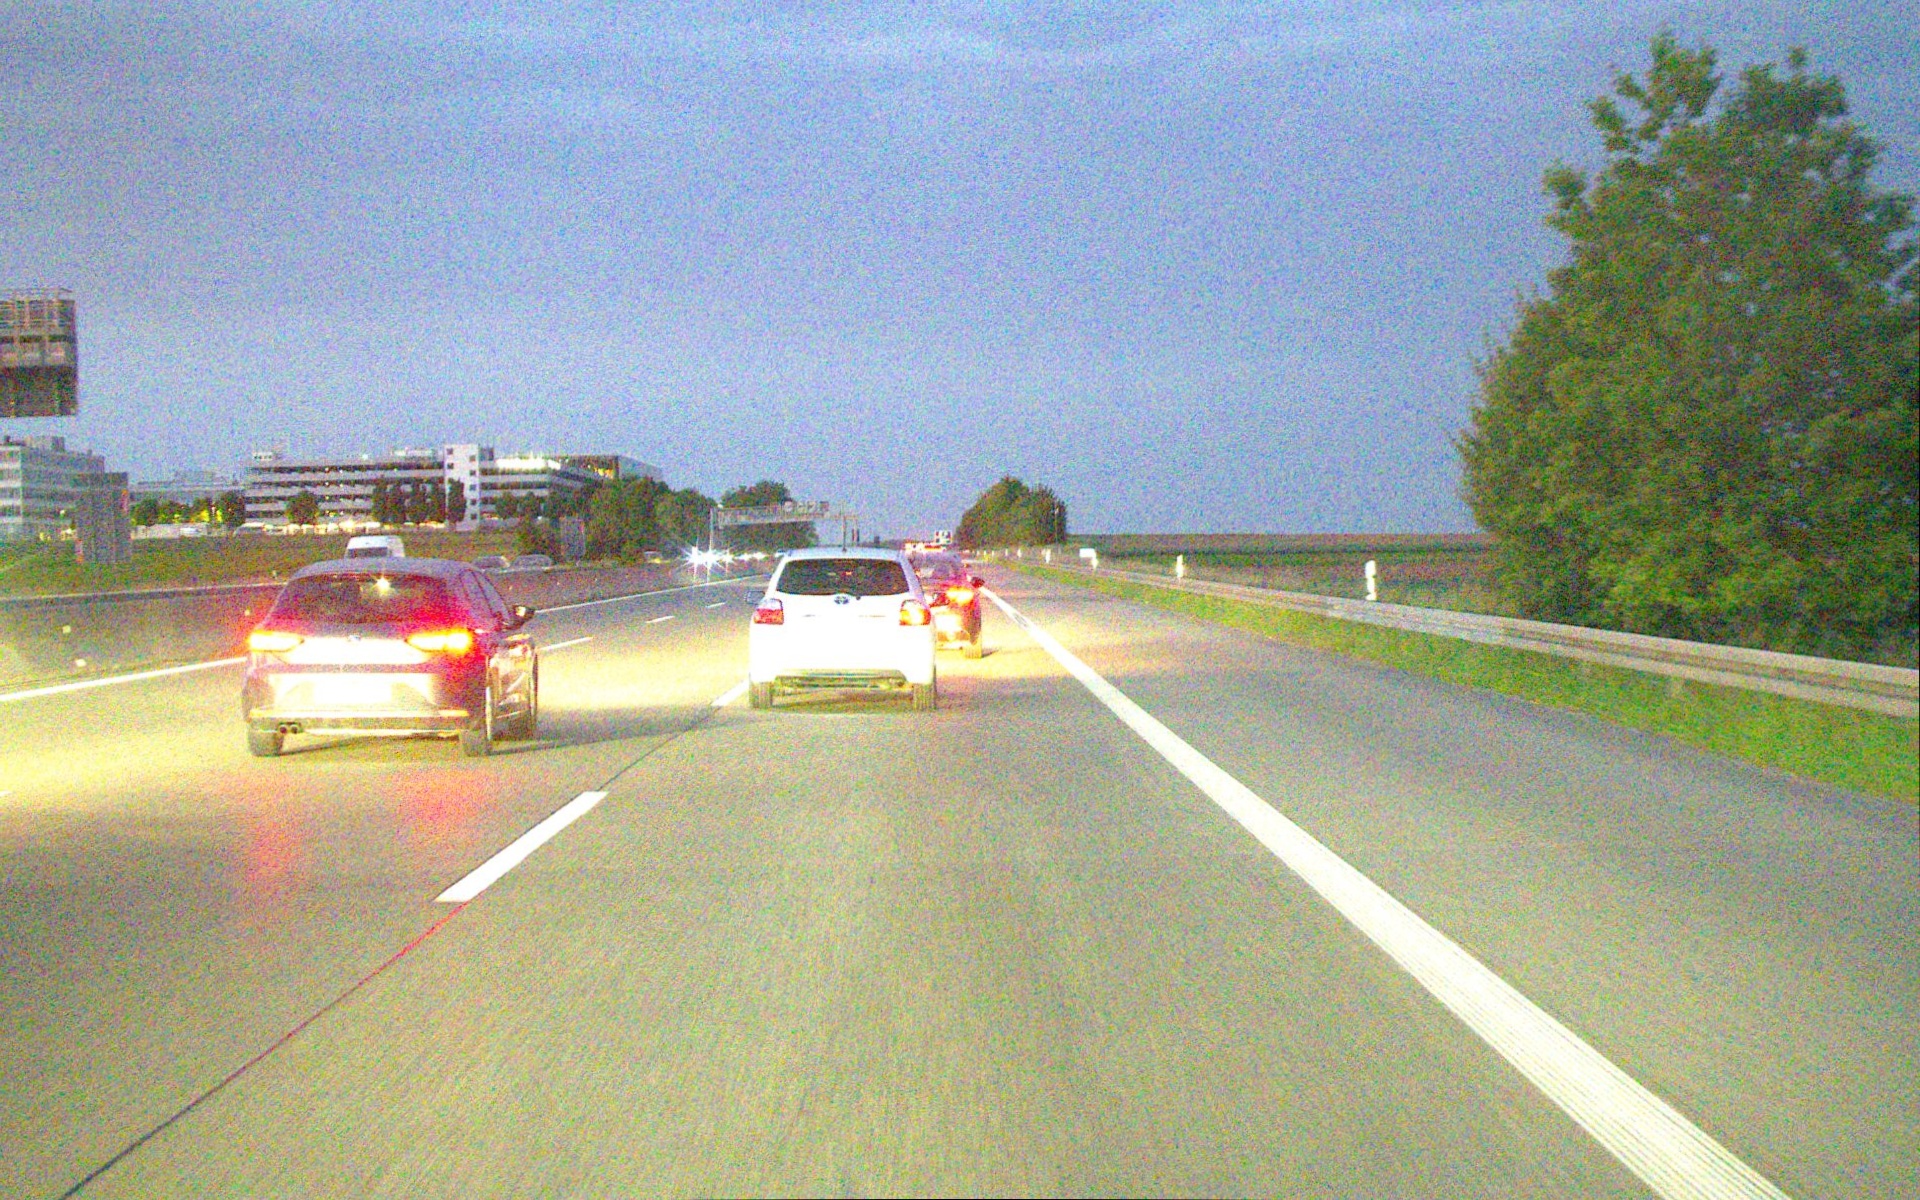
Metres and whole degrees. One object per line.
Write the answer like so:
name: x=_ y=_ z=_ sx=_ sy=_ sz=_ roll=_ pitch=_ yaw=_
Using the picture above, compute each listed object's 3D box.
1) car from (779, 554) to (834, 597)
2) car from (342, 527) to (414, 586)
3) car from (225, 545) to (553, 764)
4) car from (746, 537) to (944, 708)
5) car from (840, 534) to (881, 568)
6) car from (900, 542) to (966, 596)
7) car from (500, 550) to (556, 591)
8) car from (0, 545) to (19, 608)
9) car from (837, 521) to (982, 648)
car: x=-5.597 y=-0.890 z=125.393 sx=1.880 sy=1.547 sz=4.000 roll=1 pitch=0 yaw=-1
car: x=-24.219 y=-1.803 z=143.233 sx=1.993 sy=2.379 sz=5.836 roll=1 pitch=0 yaw=0
car: x=-4.164 y=0.360 z=25.753 sx=1.722 sy=1.466 sz=4.726 roll=1 pitch=0 yaw=-1
car: x=-1.051 y=0.189 z=33.316 sx=1.744 sy=1.519 sz=4.414 roll=1 pitch=0 yaw=0
car: x=-5.592 y=-2.743 z=193.676 sx=2.199 sy=1.873 sz=4.000 roll=1 pitch=0 yaw=-1
car: x=-0.815 y=-0.900 z=101.564 sx=1.880 sy=1.547 sz=4.000 roll=1 pitch=0 yaw=-1
car: x=-17.494 y=-1.197 z=139.517 sx=1.699 sy=1.611 sz=4.626 roll=1 pitch=0 yaw=0
car: x=-23.864 y=-0.563 z=80.659 sx=1.993 sy=1.516 sz=5.836 roll=1 pitch=0 yaw=0
car: x=-0.682 y=-0.216 z=46.871 sx=1.880 sy=1.637 sz=4.000 roll=1 pitch=0 yaw=-1
